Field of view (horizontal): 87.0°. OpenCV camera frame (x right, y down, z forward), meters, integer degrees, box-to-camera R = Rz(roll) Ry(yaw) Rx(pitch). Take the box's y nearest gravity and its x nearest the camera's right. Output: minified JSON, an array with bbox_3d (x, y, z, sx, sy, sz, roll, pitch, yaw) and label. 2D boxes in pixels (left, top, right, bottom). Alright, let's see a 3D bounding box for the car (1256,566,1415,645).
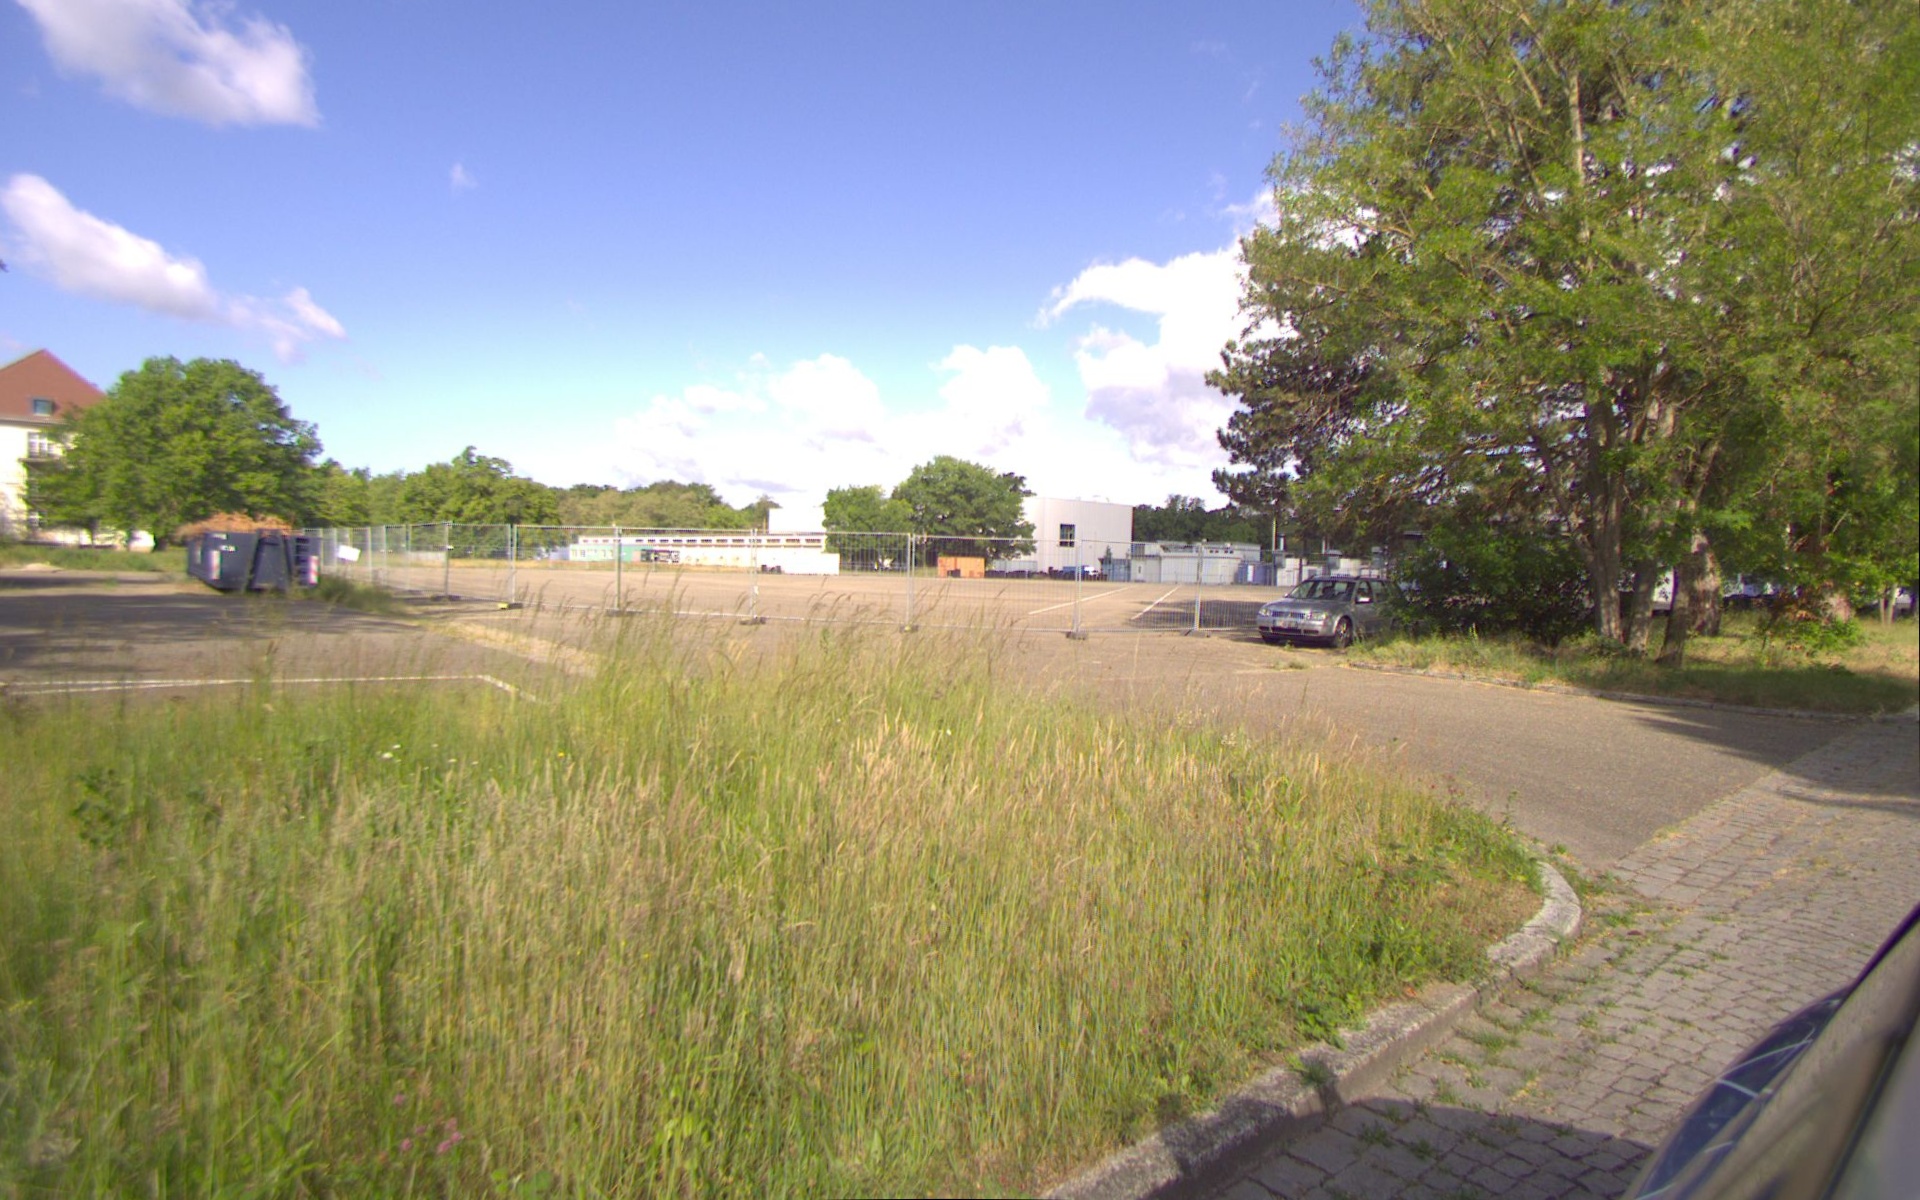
[{"bbox_3d":[7.937,0.079,21.228,3.921,1.461,1.576,0,3,-44],"label":"car"}]
